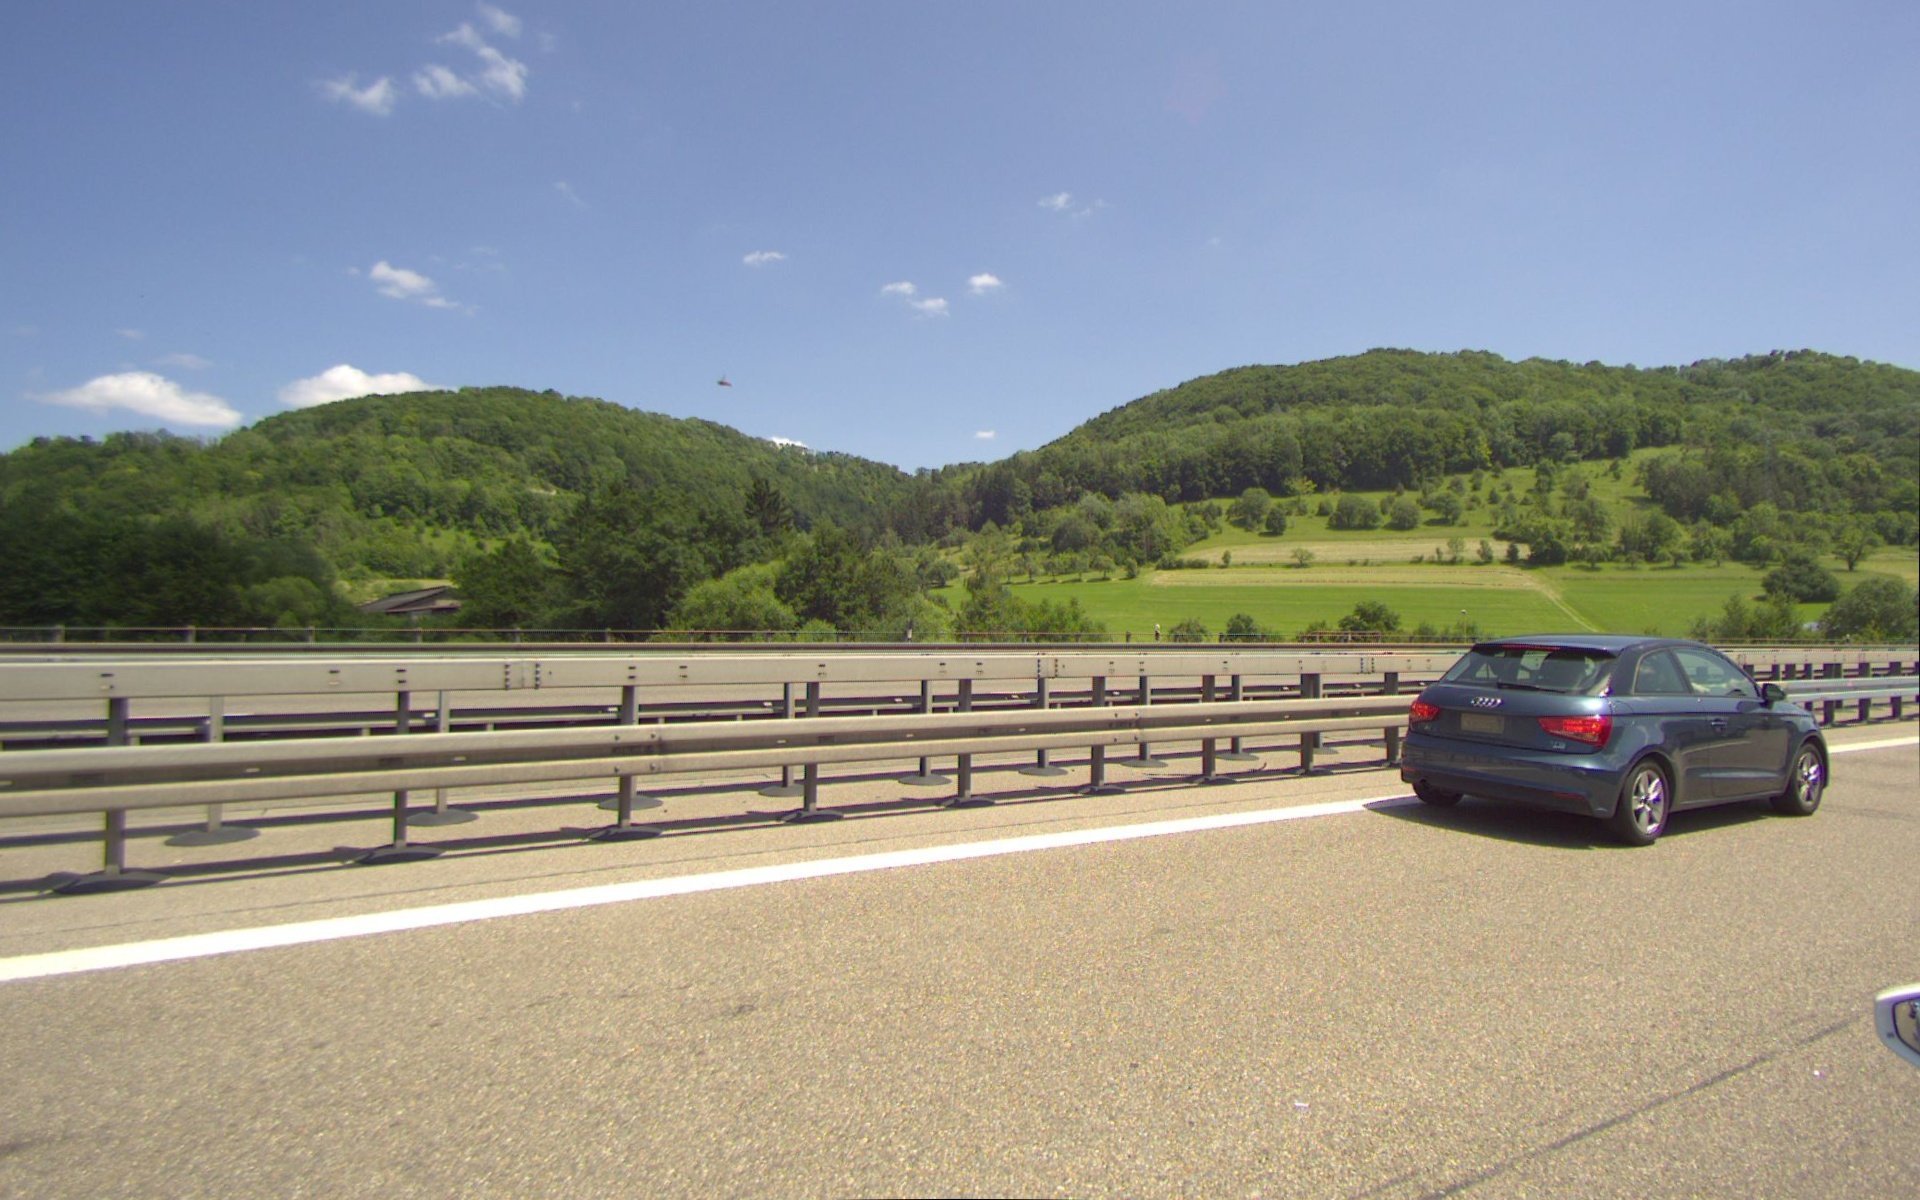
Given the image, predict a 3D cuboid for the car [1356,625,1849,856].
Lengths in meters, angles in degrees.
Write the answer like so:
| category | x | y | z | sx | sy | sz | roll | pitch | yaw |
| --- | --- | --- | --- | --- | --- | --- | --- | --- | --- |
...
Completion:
| category | x | y | z | sx | sy | sz | roll | pitch | yaw |
| --- | --- | --- | --- | --- | --- | --- | --- | --- | --- |
| car | 5.153 | 0.932 | 7.948 | 3.953 | 1.407 | 1.680 | 1 | -1 | -30 |
